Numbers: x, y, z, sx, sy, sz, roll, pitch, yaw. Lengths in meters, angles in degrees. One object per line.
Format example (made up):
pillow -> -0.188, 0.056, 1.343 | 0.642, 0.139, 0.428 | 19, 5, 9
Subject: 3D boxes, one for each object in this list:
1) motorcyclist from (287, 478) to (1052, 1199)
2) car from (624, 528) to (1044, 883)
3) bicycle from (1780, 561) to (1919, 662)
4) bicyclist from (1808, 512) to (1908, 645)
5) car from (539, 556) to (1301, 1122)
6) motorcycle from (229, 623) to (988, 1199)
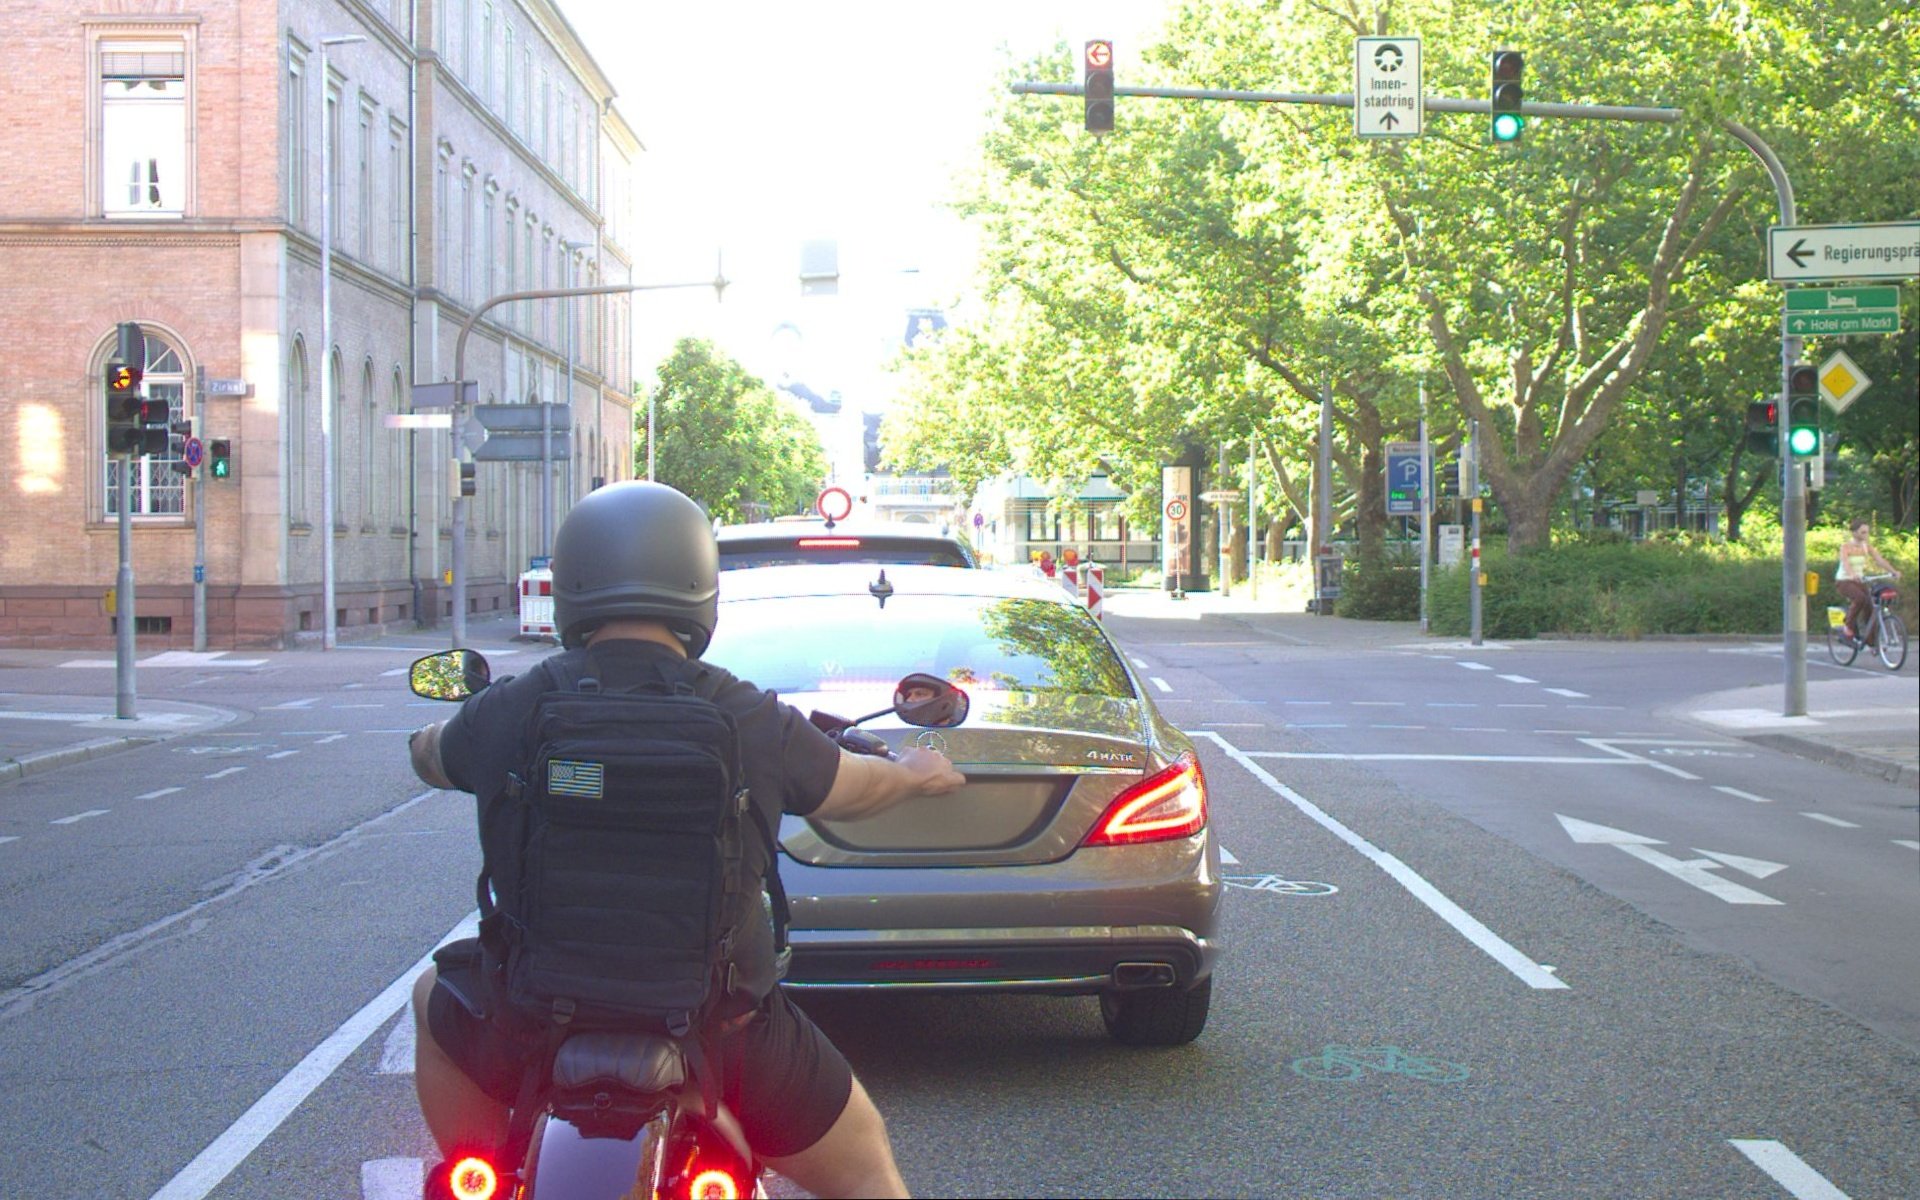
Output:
motorcyclist -> -0.417, 0.620, 5.288 | 1.061, 1.577, 0.908 | 1, 0, -1
car -> -0.648, 0.419, 16.790 | 1.813, 1.530, 3.849 | 0, 1, -3
bicycle -> 10.813, 0.123, 41.209 | 0.715, 1.168, 2.176 | 1, 1, -24
bicyclist -> 10.785, -0.258, 41.299 | 0.716, 1.577, 0.936 | 1, 0, -23
car -> -0.349, 0.587, 11.125 | 1.901, 1.436, 4.290 | 0, 1, -8
motorcycle -> -0.467, 0.739, 5.559 | 0.962, 1.352, 2.320 | 1, 1, -1
